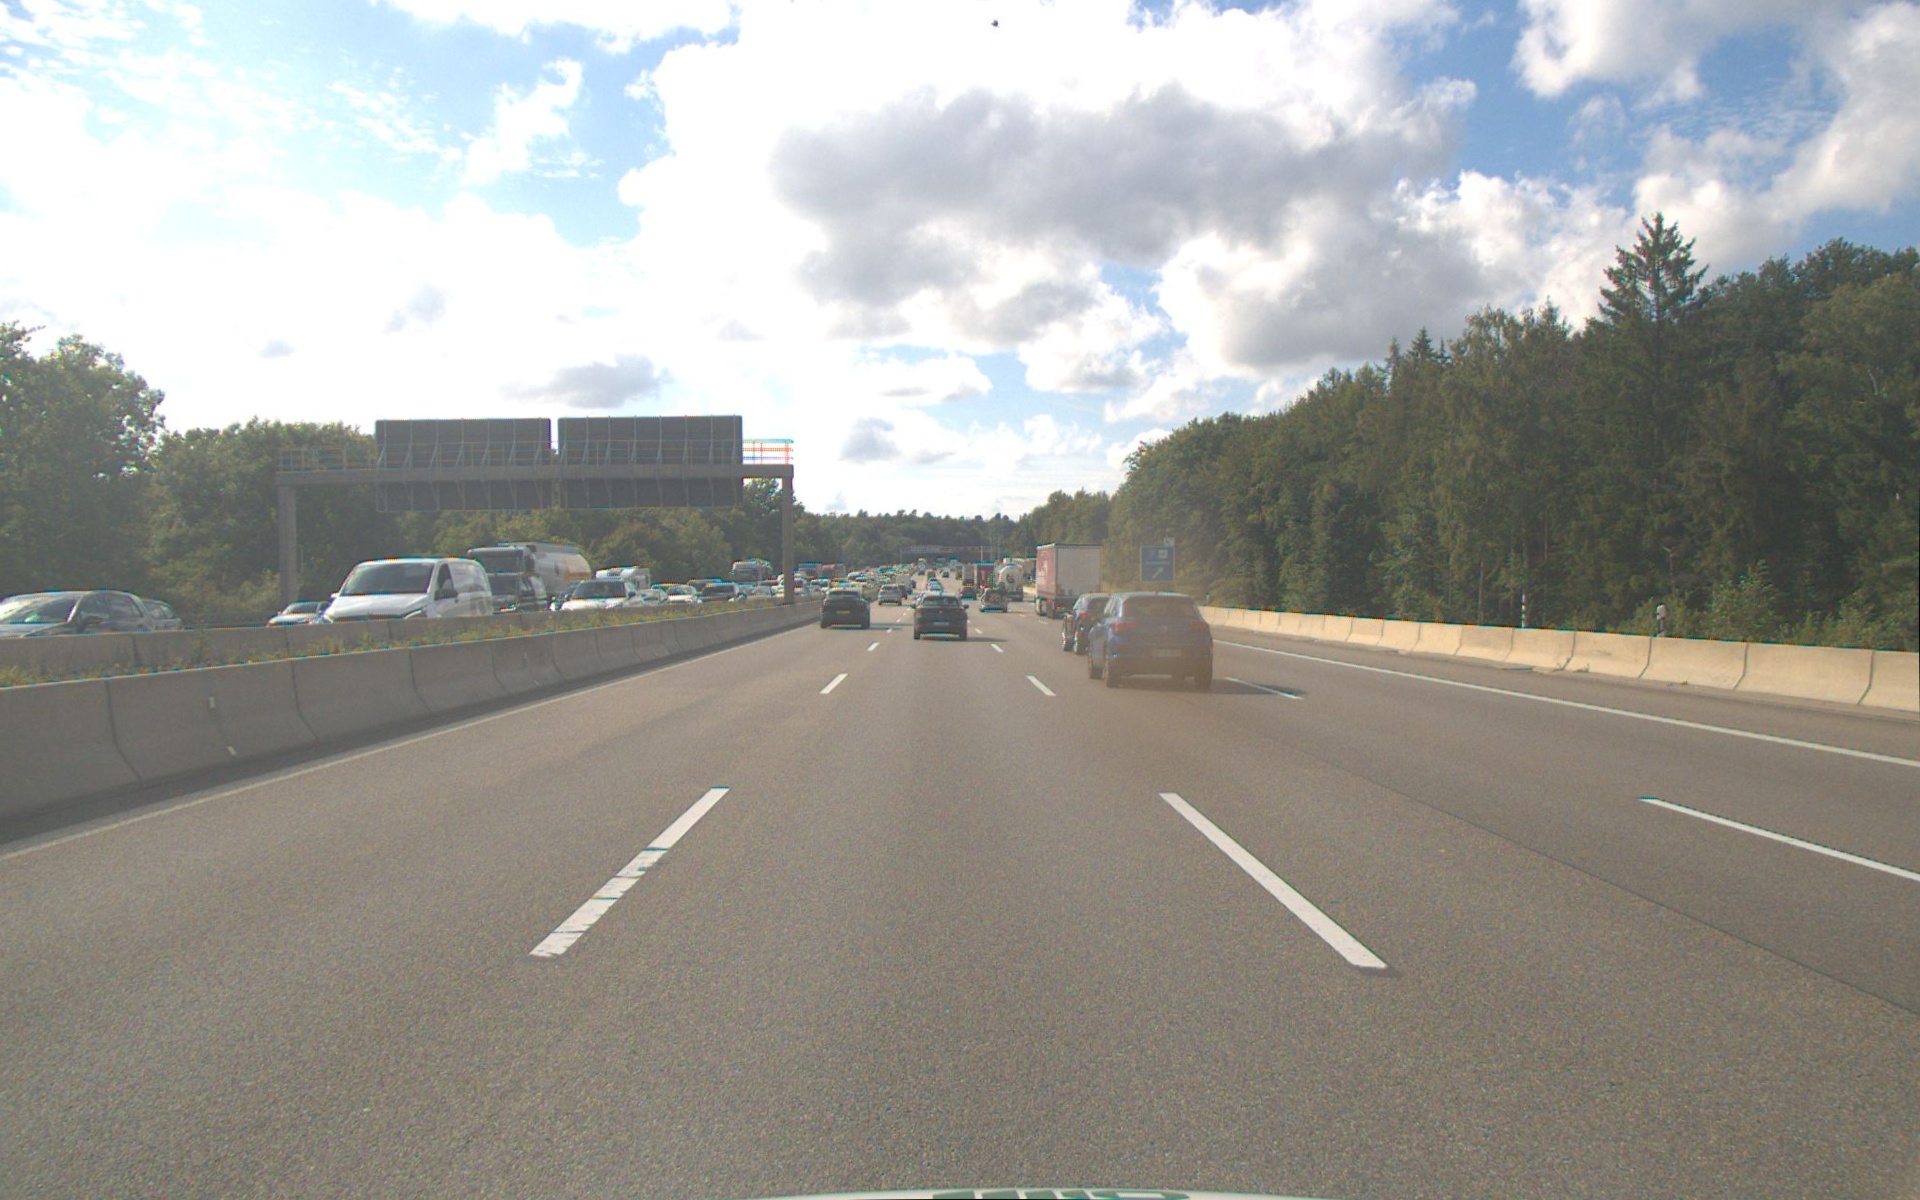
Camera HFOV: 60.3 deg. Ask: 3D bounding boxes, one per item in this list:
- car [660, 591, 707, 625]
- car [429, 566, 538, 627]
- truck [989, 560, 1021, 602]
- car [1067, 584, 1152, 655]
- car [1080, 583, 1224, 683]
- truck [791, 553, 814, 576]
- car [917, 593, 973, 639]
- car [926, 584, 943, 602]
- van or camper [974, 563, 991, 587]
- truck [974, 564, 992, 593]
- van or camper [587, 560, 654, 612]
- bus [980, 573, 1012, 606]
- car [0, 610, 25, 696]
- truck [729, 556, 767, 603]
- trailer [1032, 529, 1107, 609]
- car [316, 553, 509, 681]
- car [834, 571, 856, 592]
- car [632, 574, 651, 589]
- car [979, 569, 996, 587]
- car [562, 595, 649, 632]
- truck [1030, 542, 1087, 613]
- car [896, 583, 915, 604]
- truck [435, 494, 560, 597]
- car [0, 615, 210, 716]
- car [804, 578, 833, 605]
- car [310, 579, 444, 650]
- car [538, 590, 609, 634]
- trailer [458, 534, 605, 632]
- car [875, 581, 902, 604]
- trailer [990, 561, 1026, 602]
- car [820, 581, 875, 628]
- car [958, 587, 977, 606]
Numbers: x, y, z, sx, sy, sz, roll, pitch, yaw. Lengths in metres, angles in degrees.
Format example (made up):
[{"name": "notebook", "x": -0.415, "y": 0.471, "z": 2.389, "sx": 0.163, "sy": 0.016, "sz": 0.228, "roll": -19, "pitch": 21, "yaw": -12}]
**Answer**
[{"name": "car", "x": -14.791, "y": 0.380, "z": 88.705, "sx": 1.764, "sy": 1.660, "sz": 4.661, "roll": 4, "pitch": 0, "yaw": -1}, {"name": "car", "x": -14.112, "y": -0.102, "z": 49.263, "sx": 1.967, "sy": 1.684, "sz": 4.781, "roll": 1, "pitch": 0, "yaw": -2}, {"name": "truck", "x": 4.701, "y": -1.983, "z": 174.035, "sx": 2.984, "sy": 4.233, "sz": 7.125, "roll": 0, "pitch": 0, "yaw": -1}, {"name": "car", "x": 3.740, "y": 0.451, "z": 41.920, "sx": 1.762, "sy": 1.673, "sz": 4.000, "roll": 1, "pitch": 0, "yaw": 0}, {"name": "car", "x": 3.222, "y": 0.554, "z": 28.599, "sx": 1.885, "sy": 1.568, "sz": 4.644, "roll": 0, "pitch": -1, "yaw": -1}, {"name": "truck", "x": -20.286, "y": -4.536, "z": 213.642, "sx": 2.281, "sy": 2.850, "sz": 7.947, "roll": 2, "pitch": 1, "yaw": -2}, {"name": "car", "x": -0.518, "y": 0.495, "z": 53.351, "sx": 1.699, "sy": 1.389, "sz": 3.999, "roll": 1, "pitch": 0, "yaw": -2}, {"name": "car", "x": -2.962, "y": -0.788, "z": 189.909, "sx": 1.953, "sy": 2.049, "sz": 3.999, "roll": -1, "pitch": 0, "yaw": -1}, {"name": "van or camper", "x": 3.137, "y": -3.443, "z": 233.027, "sx": 2.303, "sy": 3.199, "sz": 5.710, "roll": 1, "pitch": 0, "yaw": 0}, {"name": "truck", "x": 3.126, "y": -2.910, "z": 225.892, "sx": 2.310, "sy": 3.635, "sz": 11.265, "roll": 1, "pitch": 0, "yaw": 0}, {"name": "van or camper", "x": -18.715, "y": -0.719, "z": 91.559, "sx": 2.277, "sy": 2.689, "sz": 7.395, "roll": 1, "pitch": 0, "yaw": -1}, {"name": "bus", "x": 2.372, "y": -0.677, "z": 109.496, "sx": 1.953, "sy": 2.049, "sz": 3.999, "roll": 1, "pitch": 0, "yaw": -1}, {"name": "car", "x": -9.049, "y": 0.463, "z": 12.425, "sx": 1.614, "sy": 0.737, "sz": 4.446, "roll": 1, "pitch": 0, "yaw": -2}, {"name": "truck", "x": -19.783, "y": -1.905, "z": 154.681, "sx": 2.795, "sy": 4.308, "sz": 5.712, "roll": 1, "pitch": 0, "yaw": -1}, {"name": "trailer", "x": 6.003, "y": -1.584, "z": 93.098, "sx": 2.977, "sy": 4.106, "sz": 13.886, "roll": 1, "pitch": 0, "yaw": -1}, {"name": "car", "x": -9.819, "y": 0.261, "z": 30.156, "sx": 1.795, "sy": 2.098, "sz": 5.499, "roll": -1, "pitch": 0, "yaw": -2}, {"name": "car", "x": -11.583, "y": -1.837, "z": 166.434, "sx": 1.953, "sy": 2.049, "sz": 4.409, "roll": 0, "pitch": 0, "yaw": -1}, {"name": "car", "x": -44.066, "y": -2.548, "z": 228.758, "sx": 1.953, "sy": 2.049, "sz": 3.999, "roll": 1, "pitch": 0, "yaw": -1}, {"name": "car", "x": 3.332, "y": -2.651, "z": 200.690, "sx": 1.953, "sy": 2.049, "sz": 3.999, "roll": 1, "pitch": 0, "yaw": -1}, {"name": "car", "x": -9.987, "y": 0.347, "z": 46.867, "sx": 1.610, "sy": 0.956, "sz": 4.487, "roll": 1, "pitch": 0, "yaw": -2}, {"name": "truck", "x": 5.894, "y": -1.296, "z": 99.918, "sx": 3.017, "sy": 4.134, "sz": 6.069, "roll": 1, "pitch": -1, "yaw": 0}, {"name": "car", "x": -5.679, "y": -0.678, "z": 172.417, "sx": 1.953, "sy": 2.049, "sz": 3.999, "roll": 1, "pitch": 0, "yaw": -1}, {"name": "truck", "x": -18.651, "y": -2.112, "z": 67.174, "sx": 3.348, "sy": 3.968, "sz": 6.799, "roll": 0, "pitch": 0, "yaw": -2}, {"name": "car", "x": -12.645, "y": 0.911, "z": 24.346, "sx": 1.629, "sy": 1.279, "sz": 3.589, "roll": 1, "pitch": 0, "yaw": -2}, {"name": "car", "x": -11.924, "y": -0.700, "z": 139.633, "sx": 1.953, "sy": 2.137, "sz": 5.277, "roll": 1, "pitch": 0, "yaw": -1}, {"name": "car", "x": -13.946, "y": 0.318, "z": 39.820, "sx": 1.795, "sy": 1.564, "sz": 4.241, "roll": 1, "pitch": 0, "yaw": -2}, {"name": "car", "x": -14.624, "y": 0.427, "z": 62.819, "sx": 1.795, "sy": 1.564, "sz": 4.241, "roll": 1, "pitch": 0, "yaw": -2}, {"name": "trailer", "x": -18.821, "y": -0.750, "z": 73.794, "sx": 3.342, "sy": 3.895, "sz": 13.257, "roll": 1, "pitch": 0, "yaw": -1}, {"name": "car", "x": -5.842, "y": -0.630, "z": 135.337, "sx": 2.111, "sy": 1.807, "sz": 3.999, "roll": 1, "pitch": 0, "yaw": -1}, {"name": "trailer", "x": 4.813, "y": -1.828, "z": 168.005, "sx": 2.975, "sy": 4.086, "sz": 12.241, "roll": 0, "pitch": 0, "yaw": -2}, {"name": "car", "x": -4.453, "y": 0.167, "z": 65.942, "sx": 1.953, "sy": 1.807, "sz": 3.999, "roll": 1, "pitch": 0, "yaw": -1}, {"name": "car", "x": 0.785, "y": -0.377, "z": 175.126, "sx": 1.953, "sy": 2.049, "sz": 4.000, "roll": 1, "pitch": 0, "yaw": 0}]
